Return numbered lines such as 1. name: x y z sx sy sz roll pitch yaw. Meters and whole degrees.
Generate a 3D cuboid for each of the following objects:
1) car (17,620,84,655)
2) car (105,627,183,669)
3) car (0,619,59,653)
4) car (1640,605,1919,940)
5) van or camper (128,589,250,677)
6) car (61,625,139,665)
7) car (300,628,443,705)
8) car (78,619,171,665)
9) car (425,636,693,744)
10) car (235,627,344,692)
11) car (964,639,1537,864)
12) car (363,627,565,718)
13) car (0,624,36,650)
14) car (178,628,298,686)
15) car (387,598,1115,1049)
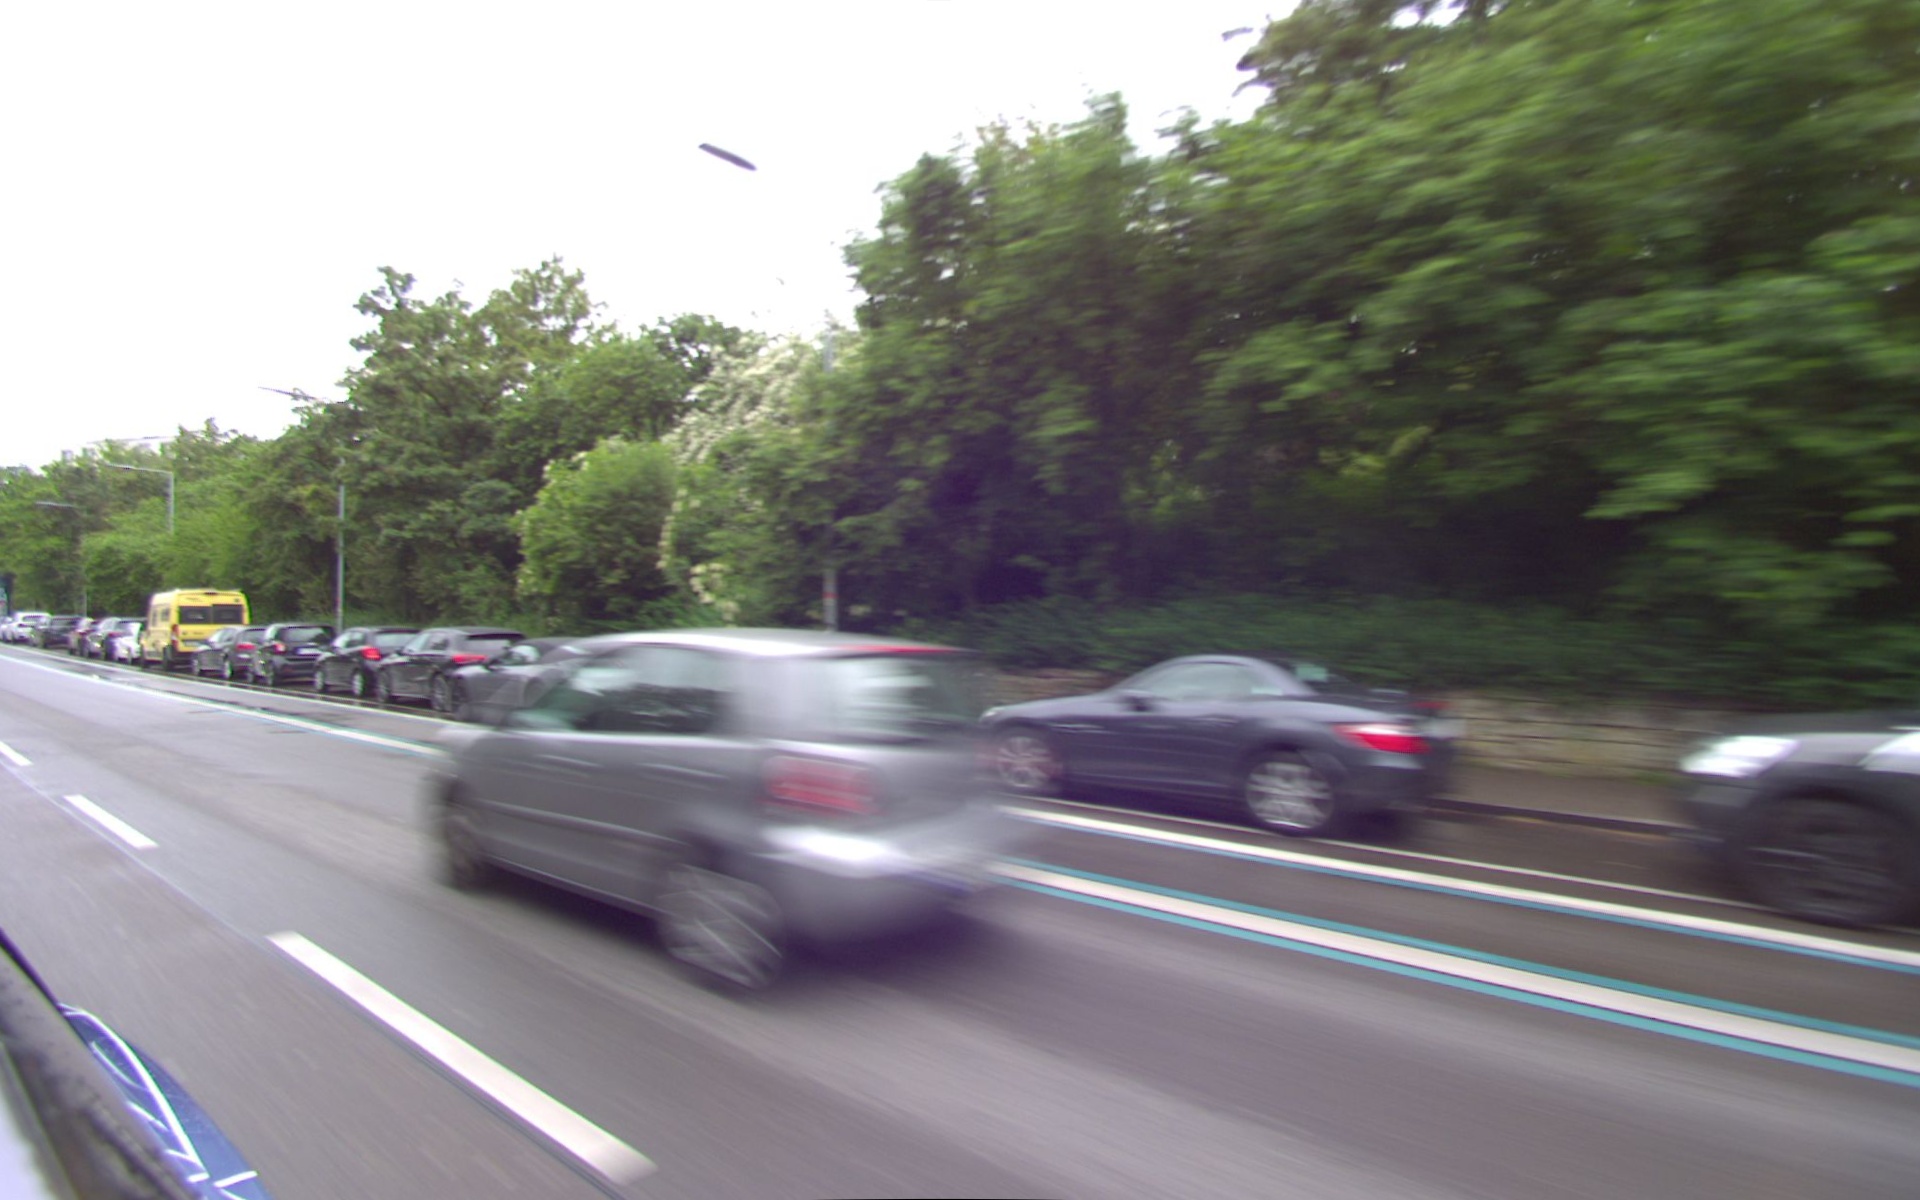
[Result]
1. car: -46.087 1.857 51.258 4.564 1.661 1.715 -1 -1 38
2. car: -29.767 1.723 36.903 3.655 1.460 1.600 -1 -3 41
3. car: -52.238 1.961 56.686 4.956 1.779 1.973 -1 -1 40
4. car: 5.848 0.816 4.792 4.139 1.596 1.677 -1 -2 43
5. van or camper: -25.120 1.049 32.888 5.680 2.647 2.121 -1 -2 42
6. car: -37.201 1.924 43.748 4.488 1.629 1.899 -1 -2 41
7. car: -12.914 1.387 22.116 3.975 1.521 1.585 -2 -2 42
8. car: -33.139 1.631 40.099 4.610 1.713 1.974 -1 -2 39
9. car: -6.029 1.216 14.966 4.467 1.314 1.850 -1 -1 41
10. car: -17.024 1.449 25.653 3.138 1.521 1.585 -2 -2 42
11. car: 2.127 1.001 8.247 4.193 1.310 1.677 -1 -2 43
12. car: -9.187 1.236 18.612 4.138 1.463 1.972 -2 -2 42
13. car: -56.882 2.192 60.584 4.704 1.471 1.701 -1 -1 40
14. car: -20.368 1.559 28.486 4.144 1.510 1.663 -1 -2 39
15. car: -1.344 0.808 5.352 4.033 1.496 1.681 -2 -3 41
